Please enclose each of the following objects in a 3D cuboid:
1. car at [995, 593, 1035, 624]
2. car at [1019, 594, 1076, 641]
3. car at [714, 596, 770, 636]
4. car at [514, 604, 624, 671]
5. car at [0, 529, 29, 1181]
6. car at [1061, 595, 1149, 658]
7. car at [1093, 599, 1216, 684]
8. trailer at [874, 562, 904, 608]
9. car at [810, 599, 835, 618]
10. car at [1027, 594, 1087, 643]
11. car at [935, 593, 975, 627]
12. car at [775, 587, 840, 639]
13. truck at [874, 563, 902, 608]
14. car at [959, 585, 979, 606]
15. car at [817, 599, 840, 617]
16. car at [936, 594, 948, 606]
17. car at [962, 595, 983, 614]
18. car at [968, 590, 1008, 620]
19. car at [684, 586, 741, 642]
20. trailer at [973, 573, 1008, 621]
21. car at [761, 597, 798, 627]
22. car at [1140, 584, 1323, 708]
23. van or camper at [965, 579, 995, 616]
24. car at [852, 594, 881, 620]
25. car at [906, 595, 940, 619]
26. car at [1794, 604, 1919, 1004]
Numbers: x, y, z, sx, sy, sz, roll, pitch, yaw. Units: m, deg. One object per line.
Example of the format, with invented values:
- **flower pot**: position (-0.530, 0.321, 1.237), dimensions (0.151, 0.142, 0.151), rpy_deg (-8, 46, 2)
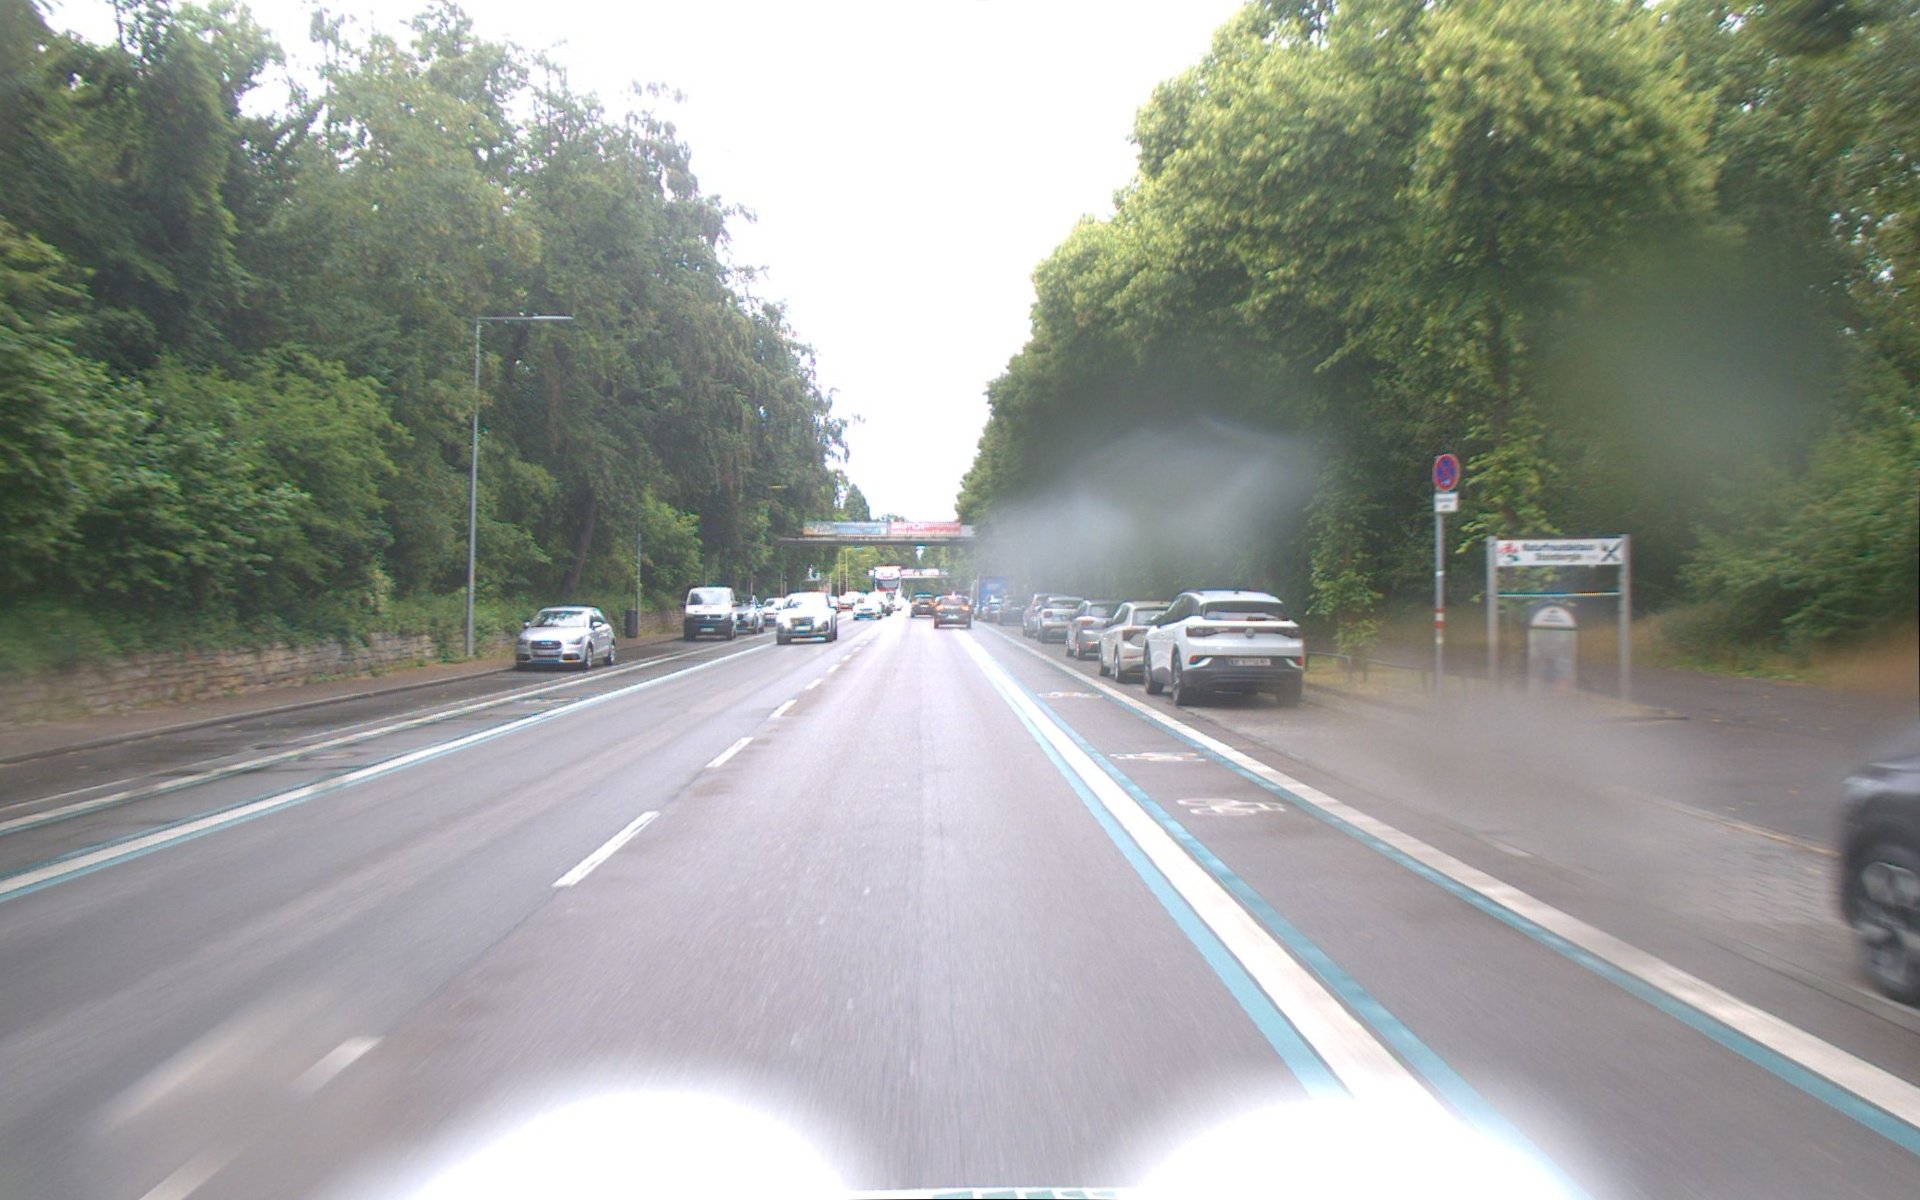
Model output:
- **car**: position (2.785, 0.390, 84.448), dimensions (1.789, 1.529, 4.569), rpy_deg (0, 0, -2)
- **car**: position (3.197, 0.616, 61.206), dimensions (1.718, 1.625, 4.738), rpy_deg (1, 0, -2)
- **car**: position (-9.583, 0.660, 72.936), dimensions (1.970, 1.633, 4.777), rpy_deg (-1, 1, -2)
- **car**: position (-9.171, 0.855, 39.100), dimensions (1.656, 1.429, 4.027), rpy_deg (1, 1, 0)
- **car**: position (-3.447, 0.691, 2.117), dimensions (1.997, 1.678, 4.476), rpy_deg (-1, 0, -1)
- **car**: position (3.605, 0.620, 41.648), dimensions (1.664, 1.479, 4.095), rpy_deg (1, 0, -3)
- **car**: position (3.595, 0.731, 31.225), dimensions (1.664, 1.479, 3.944), rpy_deg (1, 0, -3)
- **trailer**: position (-6.993, -1.445, 164.754), dimensions (2.634, 4.333, 12.764), rpy_deg (-3, 0, -2)
- **car**: position (-11.023, 0.670, 132.652), dimensions (1.748, 1.448, 4.294), rpy_deg (-1, 1, -2)
- **car**: position (3.218, 0.582, 55.280), dimensions (1.663, 1.540, 4.468), rpy_deg (1, 0, -1)
- **car**: position (-0.244, 0.432, 76.559), dimensions (1.781, 1.534, 4.138), rpy_deg (1, 0, 0)
- **car**: position (-5.104, 0.408, 55.771), dimensions (1.914, 1.667, 4.443), rpy_deg (-1, 1, -2)
- **truck**: position (-6.832, -1.353, 157.851), dimensions (2.467, 4.117, 4.914), rpy_deg (-2, 0, -2)
- **car**: position (0.908, -0.456, 169.712), dimensions (1.887, 2.057, 4.662), rpy_deg (1, 0, -1)
- **car**: position (-11.101, 0.644, 140.179), dimensions (1.917, 1.488, 4.752), rpy_deg (0, 1, -4)
- **car**: position (-2.512, -0.007, 230.370), dimensions (1.696, 1.611, 4.035), rpy_deg (-1, 0, -2)
- **car**: position (1.116, 0.397, 151.291), dimensions (1.720, 1.617, 4.497), rpy_deg (1, 0, -1)
- **car**: position (1.530, 0.253, 93.386), dimensions (1.862, 1.574, 4.752), rpy_deg (1, 0, -4)
- **car**: position (-9.537, 0.502, 64.010), dimensions (1.935, 2.040, 5.012), rpy_deg (0, 0, -6)
- **trailer**: position (1.817, -0.170, 99.205), dimensions (1.913, 2.807, 4.006), rpy_deg (0, 0, -1)
- **car**: position (-9.741, 0.638, 89.516), dimensions (1.753, 1.508, 3.980), rpy_deg (-1, 1, -3)
- **car**: position (3.996, 0.628, 25.133), dimensions (1.953, 1.691, 4.561), rpy_deg (-1, 0, -1)
- **van or camper**: position (1.532, -0.186, 130.192), dimensions (2.001, 2.777, 6.897), rpy_deg (1, 0, -2)
- **car**: position (-5.838, 0.436, 103.594), dimensions (1.740, 1.491, 4.061), rpy_deg (-2, 0, -2)
- **car**: position (-2.448, 0.453, 108.110), dimensions (2.097, 1.518, 4.495), rpy_deg (1, 0, -3)
- **car**: position (4.517, 0.779, 5.165), dimensions (1.661, 1.502, 3.996), rpy_deg (0, 0, -3)
